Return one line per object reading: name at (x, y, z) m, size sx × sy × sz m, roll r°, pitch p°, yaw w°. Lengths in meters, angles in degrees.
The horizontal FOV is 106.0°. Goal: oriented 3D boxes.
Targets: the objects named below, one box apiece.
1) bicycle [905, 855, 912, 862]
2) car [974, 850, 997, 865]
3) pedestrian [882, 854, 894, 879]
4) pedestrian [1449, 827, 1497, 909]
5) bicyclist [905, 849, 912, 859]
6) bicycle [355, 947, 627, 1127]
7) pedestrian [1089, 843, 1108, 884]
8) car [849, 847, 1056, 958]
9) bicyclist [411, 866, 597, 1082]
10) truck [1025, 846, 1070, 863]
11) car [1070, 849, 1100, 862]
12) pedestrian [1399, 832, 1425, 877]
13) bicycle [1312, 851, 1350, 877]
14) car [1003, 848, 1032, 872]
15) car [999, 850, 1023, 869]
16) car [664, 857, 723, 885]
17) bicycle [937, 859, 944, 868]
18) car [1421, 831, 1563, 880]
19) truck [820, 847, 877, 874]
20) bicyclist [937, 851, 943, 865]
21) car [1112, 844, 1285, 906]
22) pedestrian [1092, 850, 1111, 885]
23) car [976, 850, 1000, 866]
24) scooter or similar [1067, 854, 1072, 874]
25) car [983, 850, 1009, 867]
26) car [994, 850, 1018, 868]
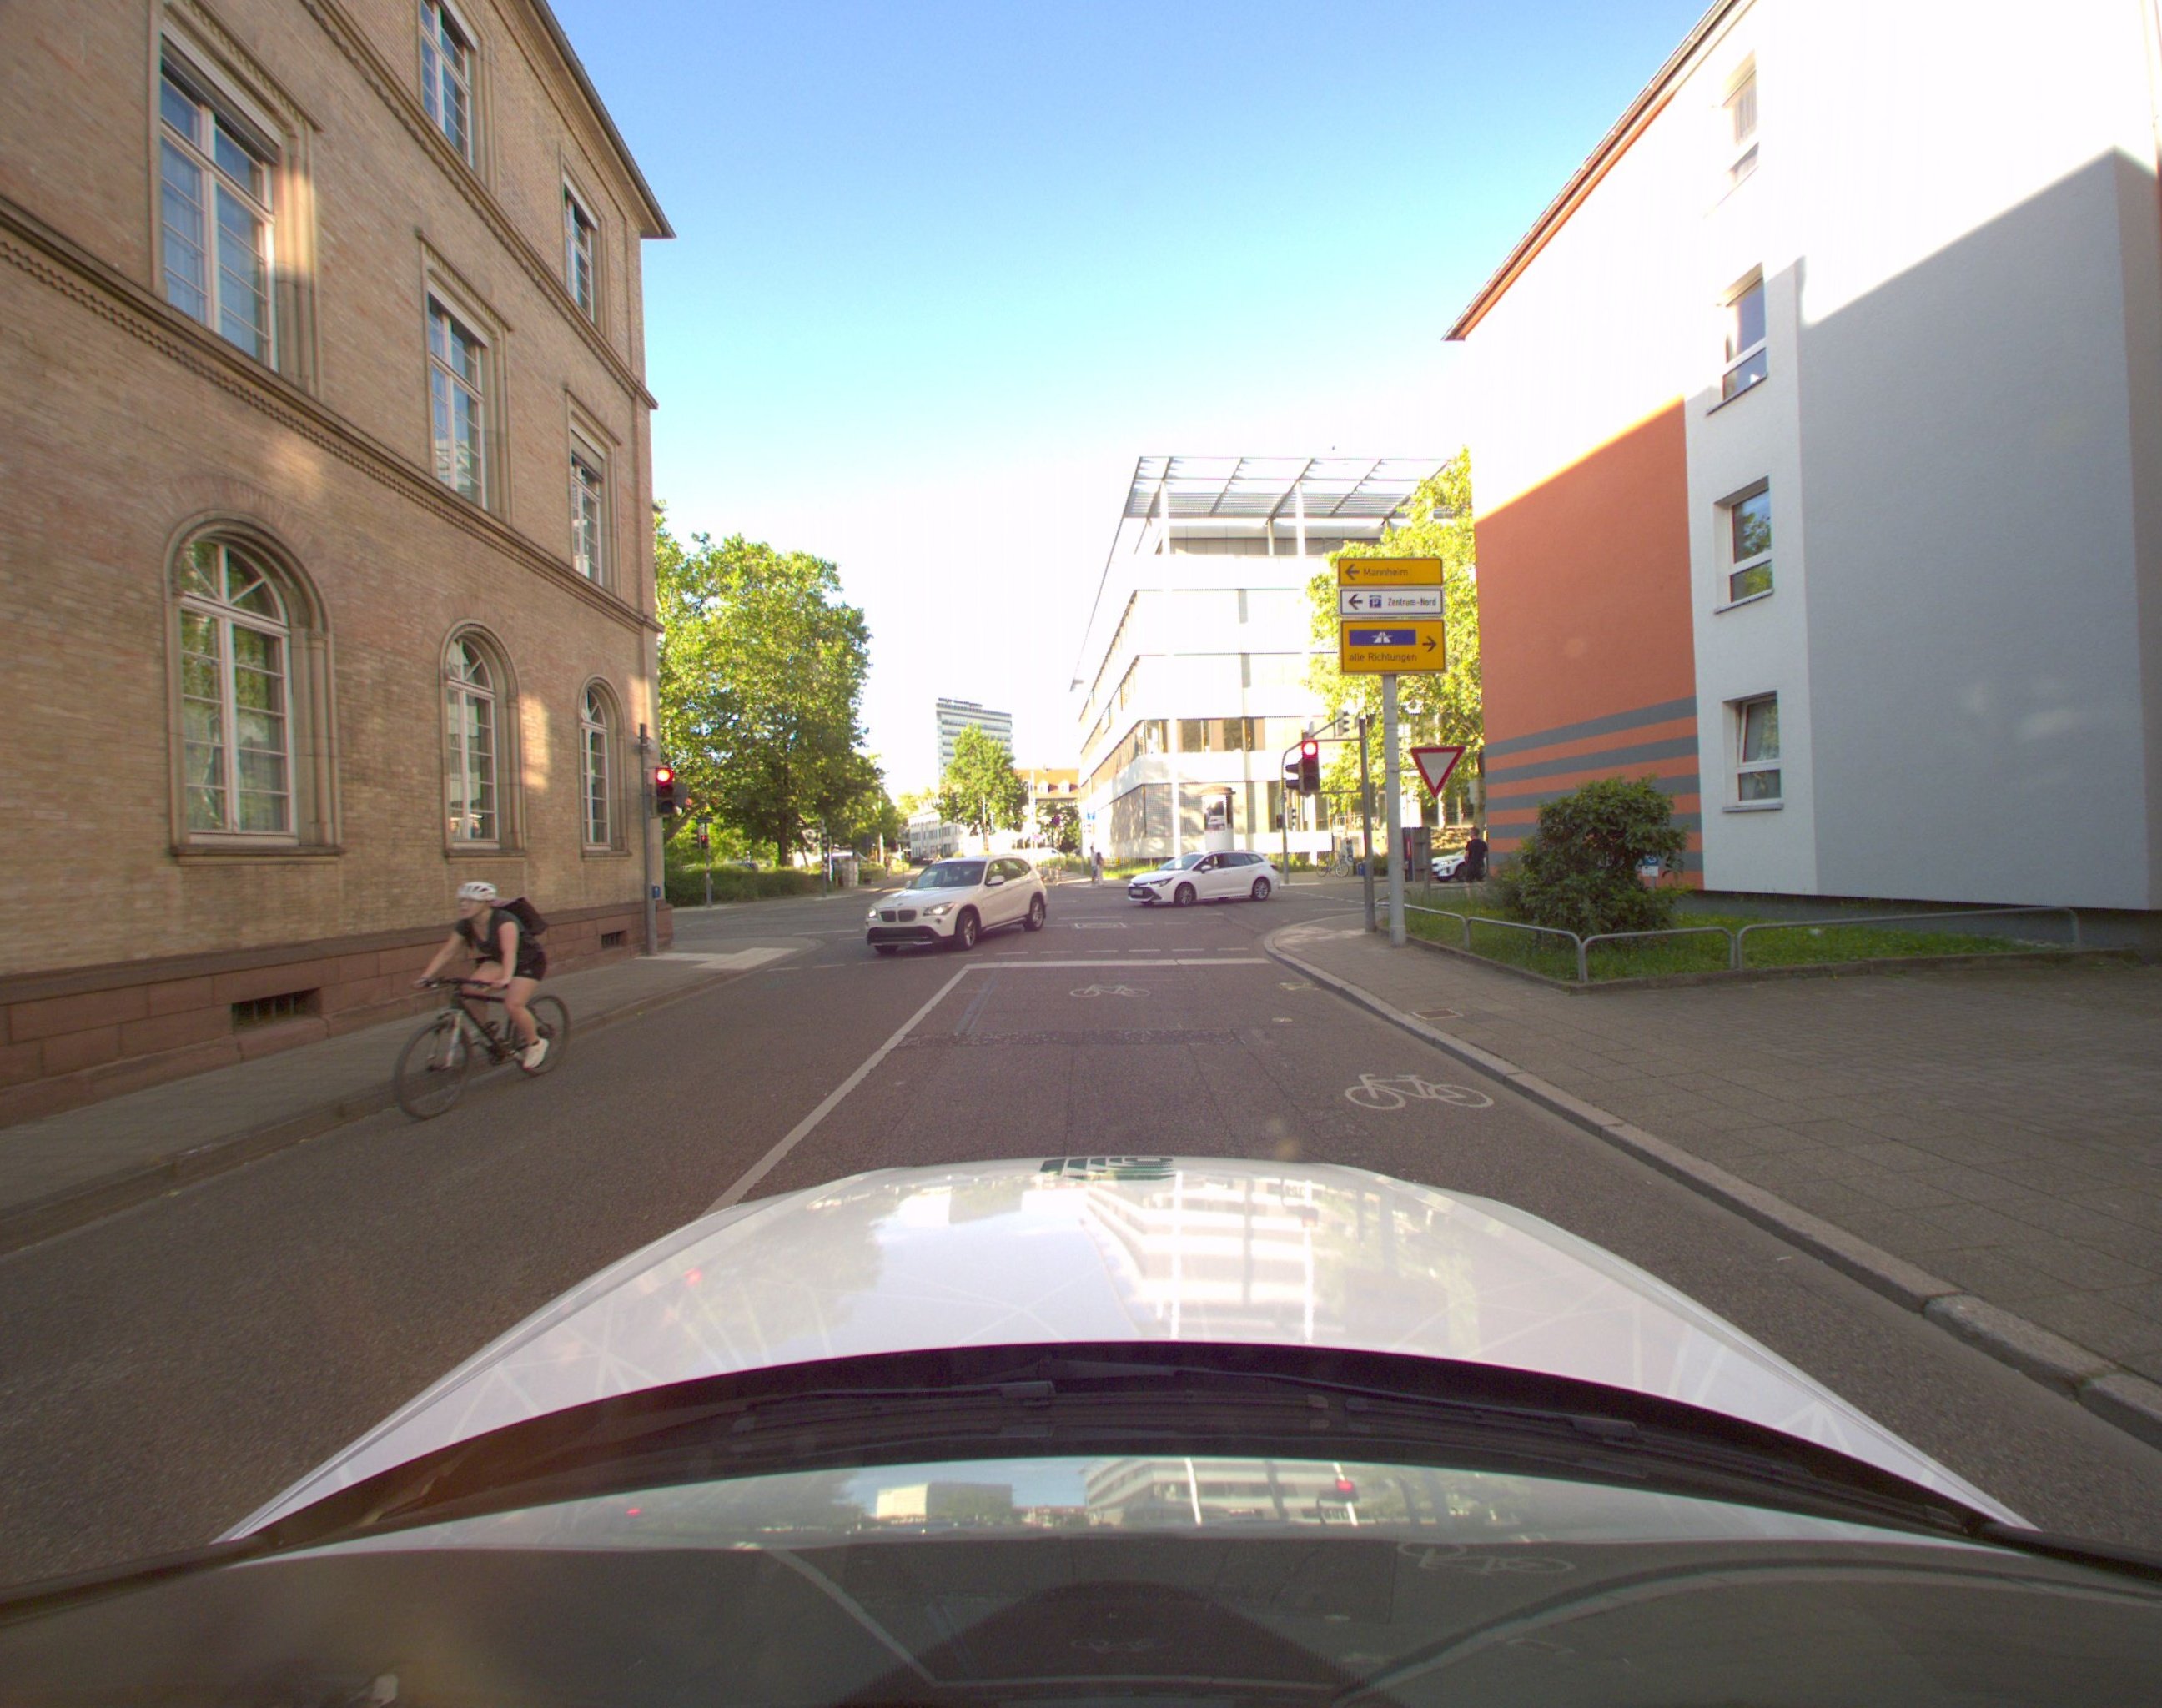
bicycle at (-26.641, 0.645, 125.981) m, size 0.865 × 1.009 × 2.407 m, roll -5°, pitch 0°, yaw -9°
car at (-11.282, 0.414, 95.989) m, size 1.893 × 1.655 × 4.390 m, roll -2°, pitch 1°, yaw -16°
pedestrian at (-13.851, 0.873, 58.542) m, size 0.704 × 1.723 × 0.949 m, roll -3°, pitch 0°, yaw -17°
pedestrian at (8.975, 0.308, 18.649) m, size 0.704 × 1.840 × 0.837 m, roll 0°, pitch 0°, yaw 1°
bicyclist at (-26.685, 0.013, 125.998) m, size 0.866 × 1.515 × 1.016 m, roll -5°, pitch 0°, yaw -9°
bicycle at (-4.360, 1.302, 6.223) m, size 0.683 × 0.924 × 1.767 m, roll -5°, pitch 0°, yaw 2°
pedestrian at (0.831, 0.445, 37.959) m, size 0.555 × 1.850 × 0.680 m, roll -5°, pitch 1°, yaw 18°
car at (-2.137, 0.768, 14.917) m, size 1.671 × 1.582 × 4.298 m, roll -4°, pitch 0°, yaw 22°
bicyclist at (-4.373, 0.865, 6.240) m, size 0.683 × 1.475 × 0.871 m, roll -4°, pitch 0°, yaw 1°
truck at (-4.252, 0.057, 103.386) m, size 5.351 × 2.013 × 1.988 m, roll -2°, pitch 0°, yaw -17°
car at (0.499, 0.159, 104.458) m, size 3.563 × 1.546 × 1.549 m, roll -2°, pitch 0°, yaw -17°
pedestrian at (13.723, 0.025, 33.814) m, size 0.830 × 1.840 × 0.710 m, roll 0°, pitch 0°, yaw 5°
bicycle at (11.028, 0.417, 35.940) m, size 0.510 × 1.049 × 1.670 m, roll -4°, pitch 3°, yaw -33°
car at (-5.097, 0.442, 64.986) m, size 2.084 × 1.795 × 4.403 m, roll -2°, pitch 1°, yaw -8°
car at (-6.338, 0.494, 73.296) m, size 1.887 × 1.555 × 4.403 m, roll -2°, pitch 1°, yaw -8°
car at (-37.173, 1.612, 78.142) m, size 4.551 × 2.391 × 2.069 m, roll -3°, pitch 0°, yaw -7°
bicycle at (-15.283, 0.996, 88.436) m, size 0.615 × 0.969 × 1.837 m, roll -3°, pitch 0°, yaw -7°
car at (15.085, 0.044, 30.070) m, size 4.304 × 1.575 × 1.825 m, roll -2°, pitch 0°, yaw 1°
truck at (-21.614, 0.579, 75.853) m, size 4.825 × 2.399 × 2.082 m, roll -2°, pitch 0°, yaw -8°
bicyclist at (-15.308, 0.425, 88.449) m, size 0.615 × 1.532 × 0.901 m, roll -3°, pitch 0°, yaw -7°
car at (3.287, 0.537, 22.569) m, size 4.560 × 1.476 × 1.874 m, roll -2°, pitch 0°, yaw -31°
pedestrian at (0.923, 0.603, 37.350) m, size 0.561 × 1.540 × 0.673 m, roll -5°, pitch 1°, yaw -16°
car at (-10.445, 0.468, 91.113) m, size 1.893 × 1.655 × 4.390 m, roll -2°, pitch 1°, yaw -16°
scooter or similar at (-0.830, 0.752, 58.774) m, size 0.329 × 1.424 × 1.333 m, roll 0°, pitch -1°, yaw -4°
car at (-9.032, 0.423, 85.991) m, size 1.893 × 1.655 × 4.390 m, roll -2°, pitch 1°, yaw -16°
car at (-7.273, 0.468, 78.694) m, size 1.889 × 1.555 × 4.398 m, roll -2°, pitch 1°, yaw -11°
